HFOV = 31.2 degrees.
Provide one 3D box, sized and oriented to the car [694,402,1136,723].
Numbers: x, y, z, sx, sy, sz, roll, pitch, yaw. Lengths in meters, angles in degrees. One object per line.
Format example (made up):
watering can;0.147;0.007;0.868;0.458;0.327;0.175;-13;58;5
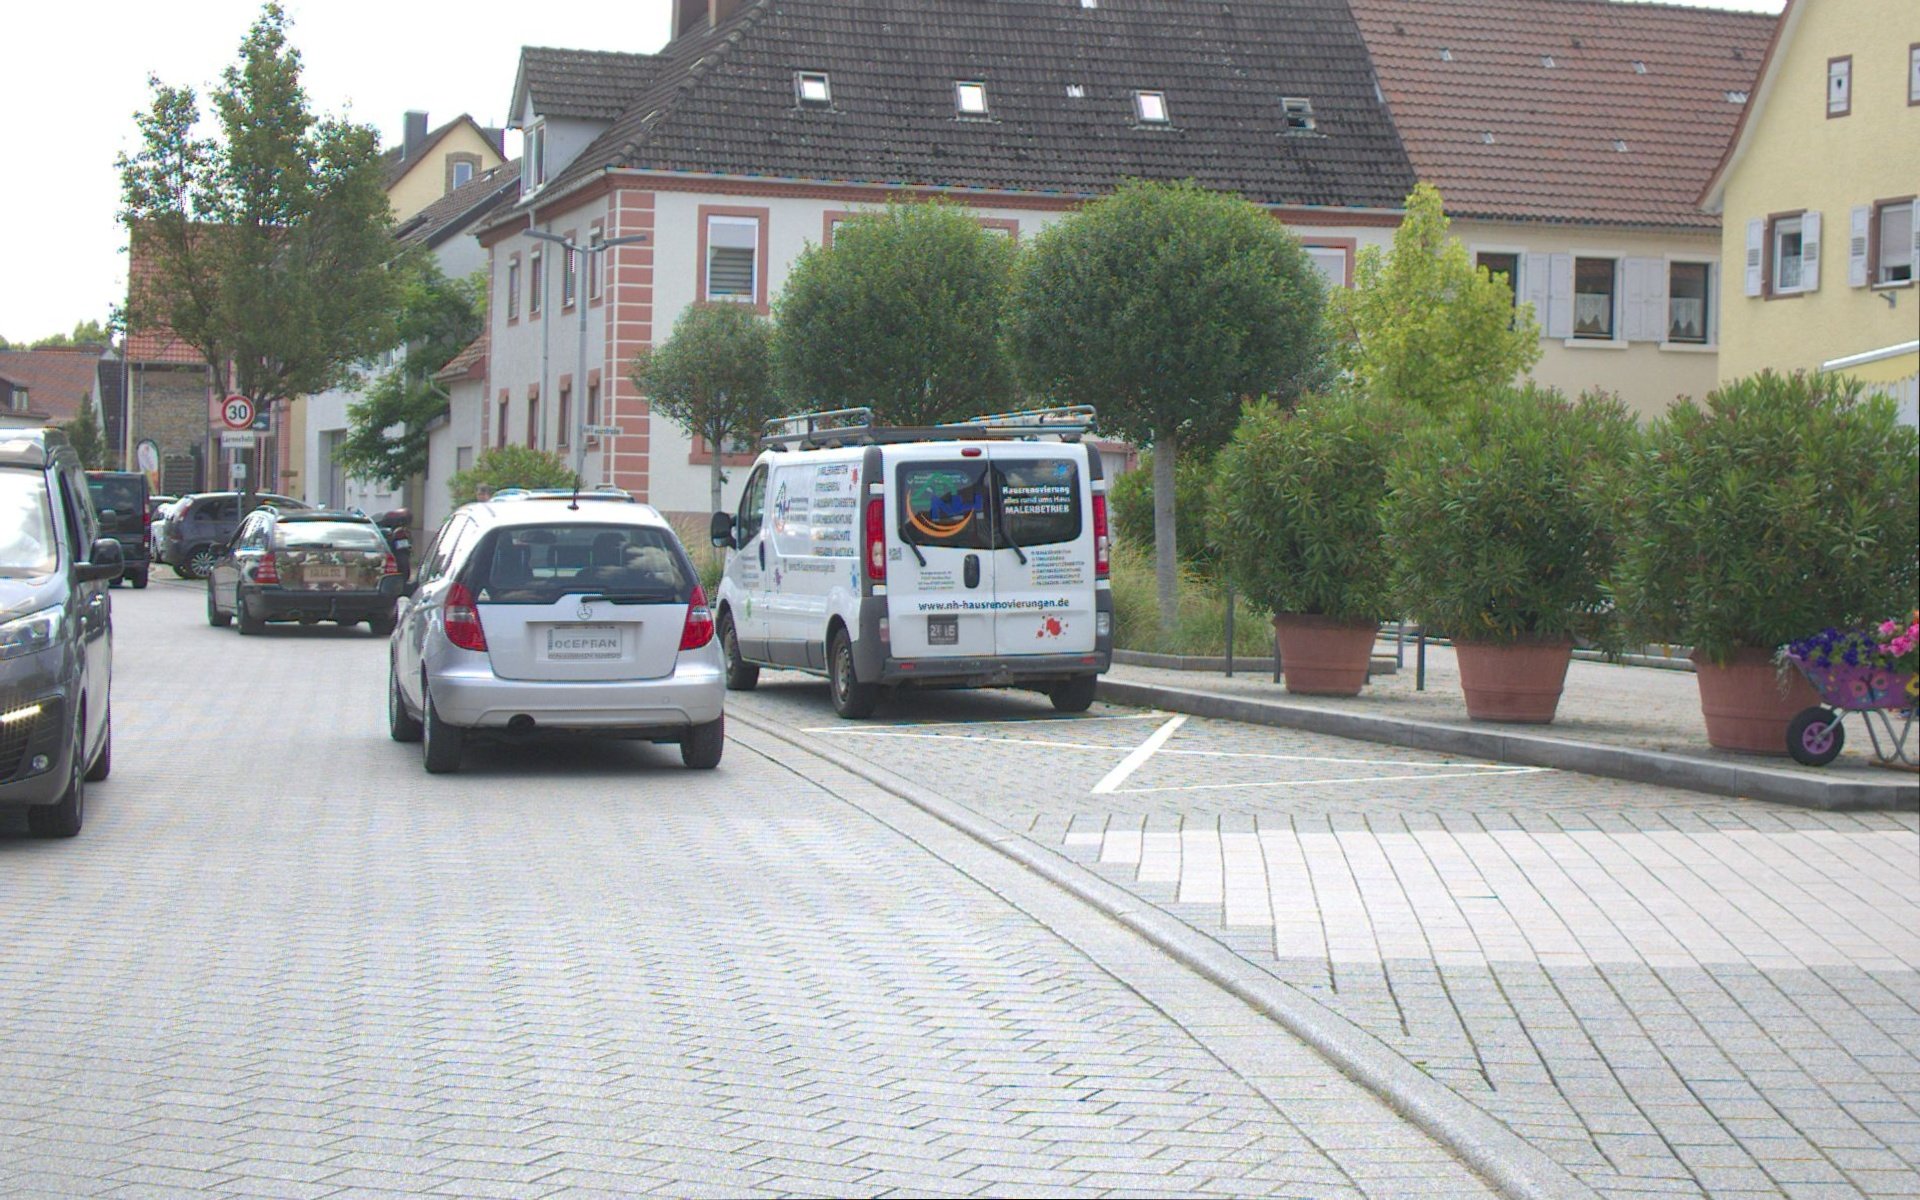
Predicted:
car;-0.478;-0.349;26.037;1.942;2.169;5.103;-1;2;-17

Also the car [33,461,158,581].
car;-14.884;-1.350;59.066;1.768;1.881;4.448;3;0;-17

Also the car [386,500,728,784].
car;-2.618;0.181;21.566;1.768;1.589;4.002;0;2;-12

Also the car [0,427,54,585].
car;-13.357;-1.285;46.006;1.993;2.006;4.741;0;2;-19

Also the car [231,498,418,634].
car;-7.217;-0.414;38.801;1.944;1.402;4.001;1;2;-12

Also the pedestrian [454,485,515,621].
pedestrian;-5.740;-0.565;41.462;0.638;1.623;0.620;1;1;-15

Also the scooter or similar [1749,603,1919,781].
scooter or similar;4.838;0.475;18.000;1.141;0.878;0.816;1;1;-8

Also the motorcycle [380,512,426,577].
motorcycle;-9.929;-0.993;61.309;0.523;1.119;1.068;1;2;-24

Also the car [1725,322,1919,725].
car;8.382;-0.554;27.526;2.752;2.953;7.114;2;1;0

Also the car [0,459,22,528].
car;-26.768;-2.910;94.416;1.638;1.842;3.607;0;1;-20

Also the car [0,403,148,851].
car;-5.350;0.038;17.603;1.993;2.006;4.741;1;2;-9

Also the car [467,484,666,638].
car;-4.367;-0.463;37.632;1.768;1.559;4.420;1;1;-12
